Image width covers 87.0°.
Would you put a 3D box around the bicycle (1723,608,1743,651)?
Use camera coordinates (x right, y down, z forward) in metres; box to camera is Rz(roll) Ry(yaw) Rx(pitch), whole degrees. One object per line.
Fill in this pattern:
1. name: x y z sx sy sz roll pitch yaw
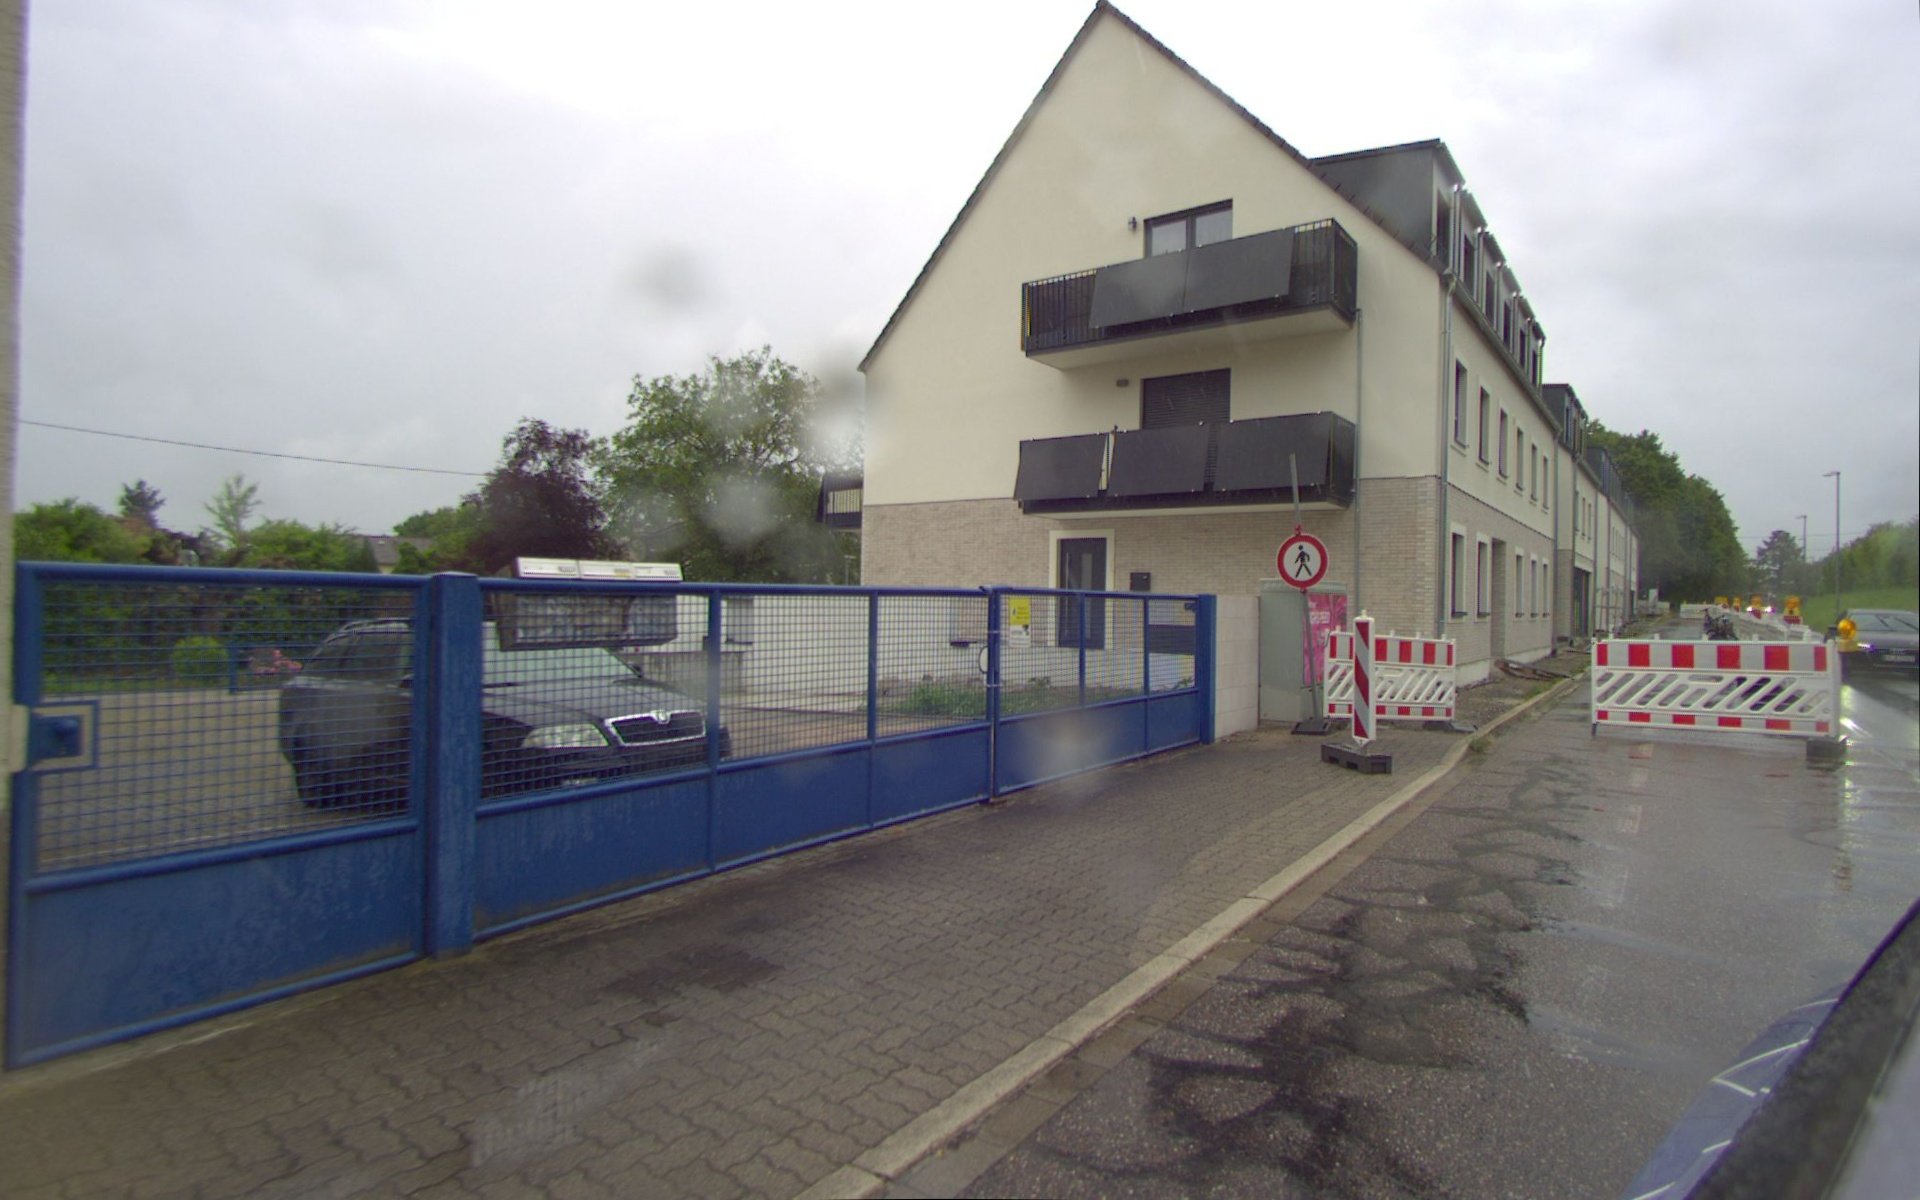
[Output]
1. bicycle: 21.828 0.825 28.579 0.405 1.157 1.204 2 2 38

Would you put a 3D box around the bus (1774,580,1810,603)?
1. bus: 117.902 -1.159 143.341 2.680 3.042 14.312 3 2 44

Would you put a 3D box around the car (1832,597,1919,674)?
1. car: 20.639 0.732 22.248 1.843 1.470 4.472 2 2 37

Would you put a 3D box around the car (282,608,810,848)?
1. car: -3.285 0.819 7.702 4.132 1.319 1.887 -3 -2 37
